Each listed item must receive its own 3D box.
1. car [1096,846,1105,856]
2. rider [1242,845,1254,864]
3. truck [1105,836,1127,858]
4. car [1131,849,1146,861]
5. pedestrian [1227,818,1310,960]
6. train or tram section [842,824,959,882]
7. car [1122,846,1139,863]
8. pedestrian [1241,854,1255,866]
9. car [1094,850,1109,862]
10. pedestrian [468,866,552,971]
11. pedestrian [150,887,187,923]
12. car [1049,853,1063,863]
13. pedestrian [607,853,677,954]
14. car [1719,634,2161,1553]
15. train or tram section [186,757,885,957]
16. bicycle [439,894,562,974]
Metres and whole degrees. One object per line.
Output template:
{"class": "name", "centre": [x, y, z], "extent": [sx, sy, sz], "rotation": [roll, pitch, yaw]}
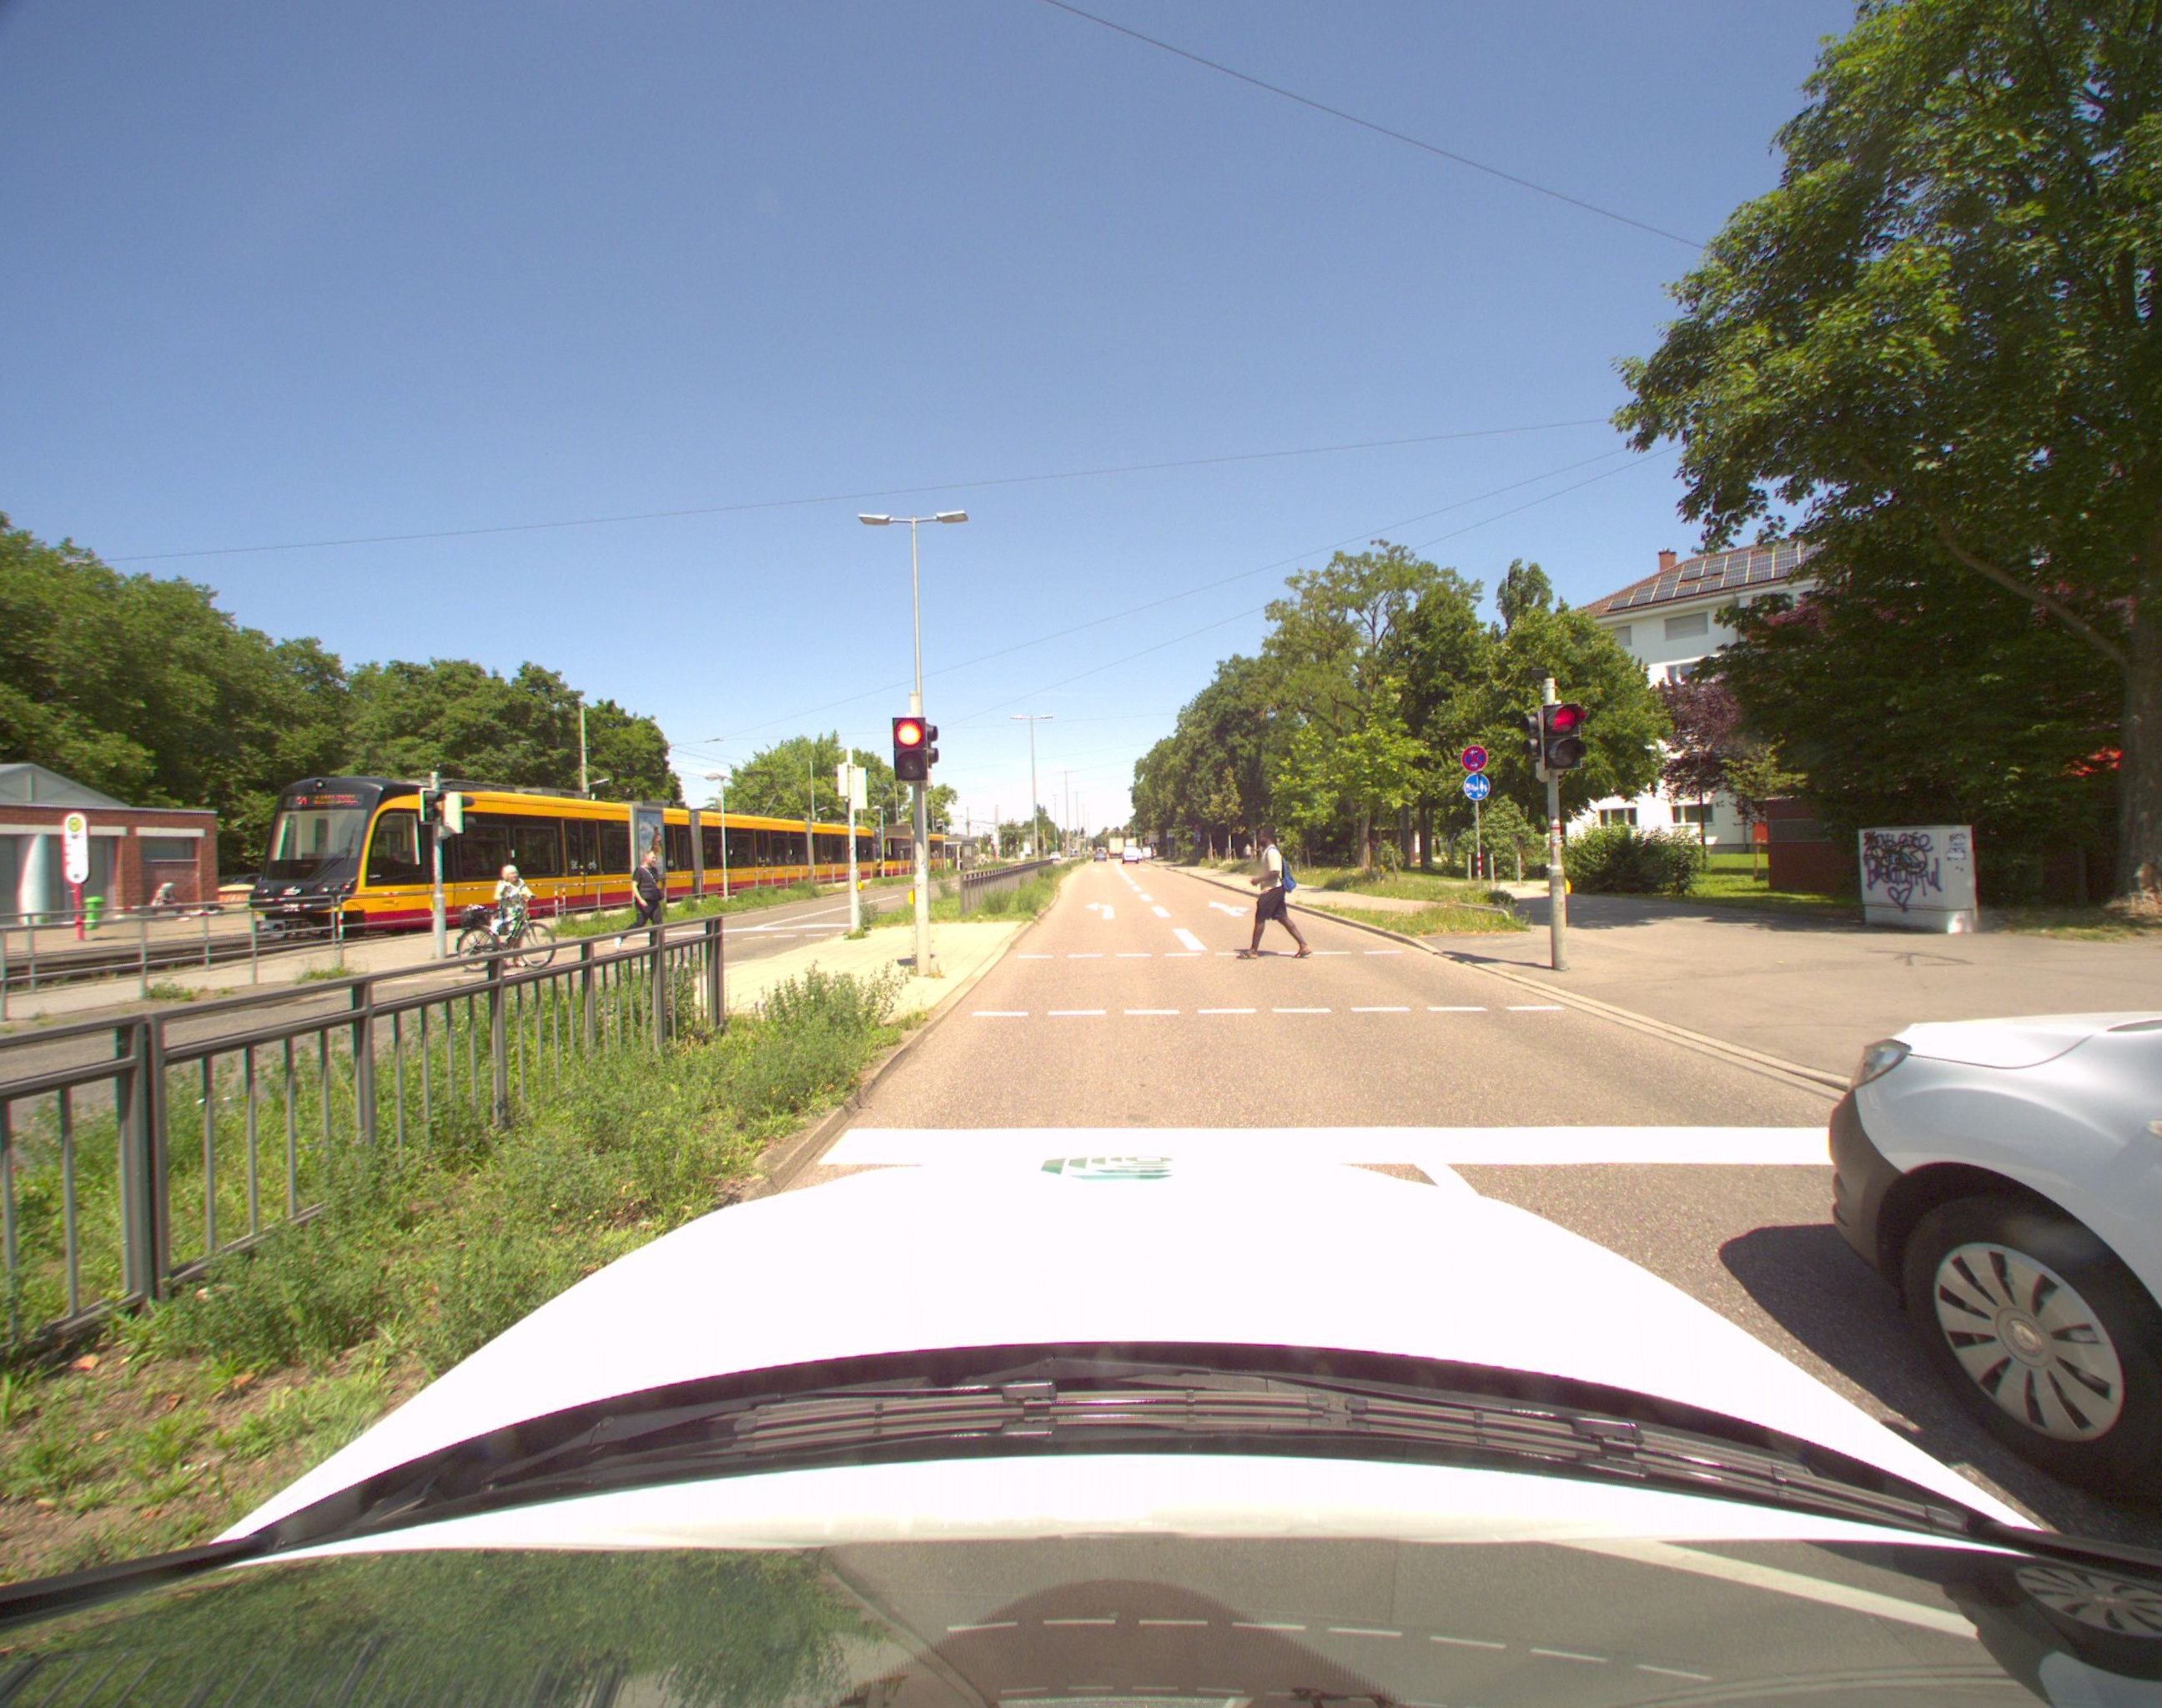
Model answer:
{"class": "car", "centre": [3.966, -0.573, 165.699], "extent": [1.681, 1.897, 3.872], "rotation": [-2, 0, 2]}
{"class": "rider", "centre": [11.863, 0.043, 57.867], "extent": [0.675, 1.281, 0.534], "rotation": [-1, 0, 1]}
{"class": "truck", "centre": [6.376, -1.228, 149.927], "extent": [3.885, 3.812, 10.797], "rotation": [-2, 0, 2]}
{"class": "car", "centre": [7.672, 0.150, 108.716], "extent": [1.797, 1.539, 4.000], "rotation": [-2, 1, 1]}
{"class": "pedestrian", "centre": [2.575, 0.460, 11.131], "extent": [1.038, 1.850, 0.760], "rotation": [-1, 0, 16]}
{"class": "train or tram section", "centre": [-13.635, -0.111, 65.706], "extent": [2.777, 3.668, 26.009], "rotation": [-1, 0, 2]}
{"class": "car", "centre": [5.293, 0.014, 87.186], "extent": [1.720, 1.814, 4.004], "rotation": [0, 0, 3]}
{"class": "pedestrian", "centre": [11.883, 0.415, 57.864], "extent": [0.675, 0.847, 1.774], "rotation": [-1, 0, 2]}
{"class": "car", "centre": [2.772, 0.229, 108.035], "extent": [1.793, 1.486, 4.005], "rotation": [-2, 0, 4]}
{"class": "pedestrian", "centre": [-9.237, 1.025, 13.205], "extent": [0.815, 1.628, 0.707], "rotation": [-1, 0, 7]}
{"class": "pedestrian", "centre": [-26.932, 1.497, 24.041], "extent": [0.479, 1.018, 0.523], "rotation": [-2, 0, 3]}
{"class": "car", "centre": [-4.152, 0.651, 136.301], "extent": [1.986, 1.650, 4.002], "rotation": [-2, 0, 1]}
{"class": "pedestrian", "centre": [-8.120, 0.896, 15.065], "extent": [0.949, 1.797, 0.710], "rotation": [-1, 0, 31]}
{"class": "car", "centre": [3.071, 0.490, 0.627], "extent": [1.817, 1.881, 4.459], "rotation": [-1, 0, 2]}
{"class": "train or tram section", "centre": [-14.688, -0.002, 33.950], "extent": [2.777, 3.668, 37.533], "rotation": [-1, 0, 2]}
{"class": "bicycle", "centre": [-9.198, 1.262, 12.901], "extent": [1.853, 1.157, 0.243], "rotation": [-3, 0, 6]}
